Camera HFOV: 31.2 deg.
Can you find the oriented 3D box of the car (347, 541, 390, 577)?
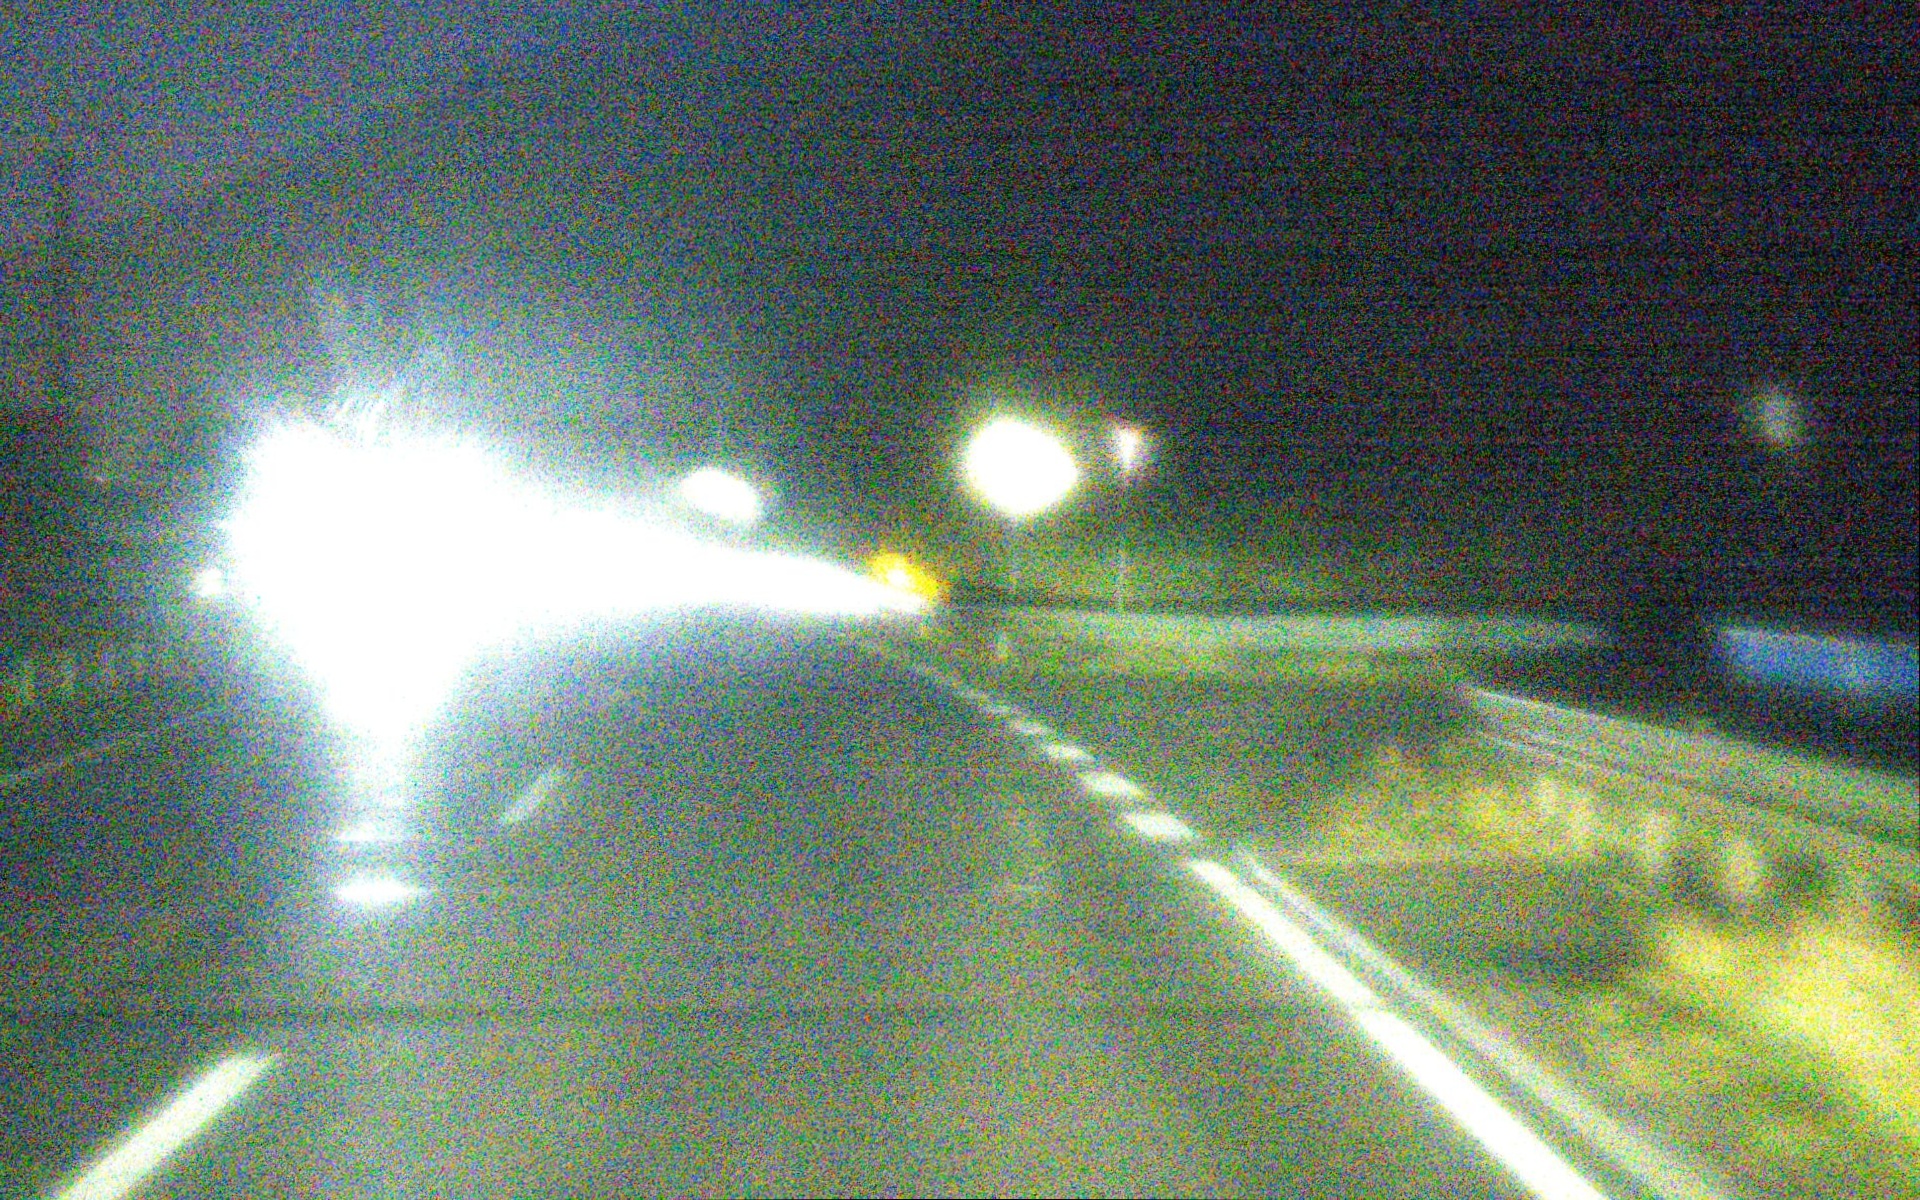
[{"bbox_3d":[-25.086,-1.752,145.691,1.701,1.501,3.685,0,1,-12],"label":"car"}]
